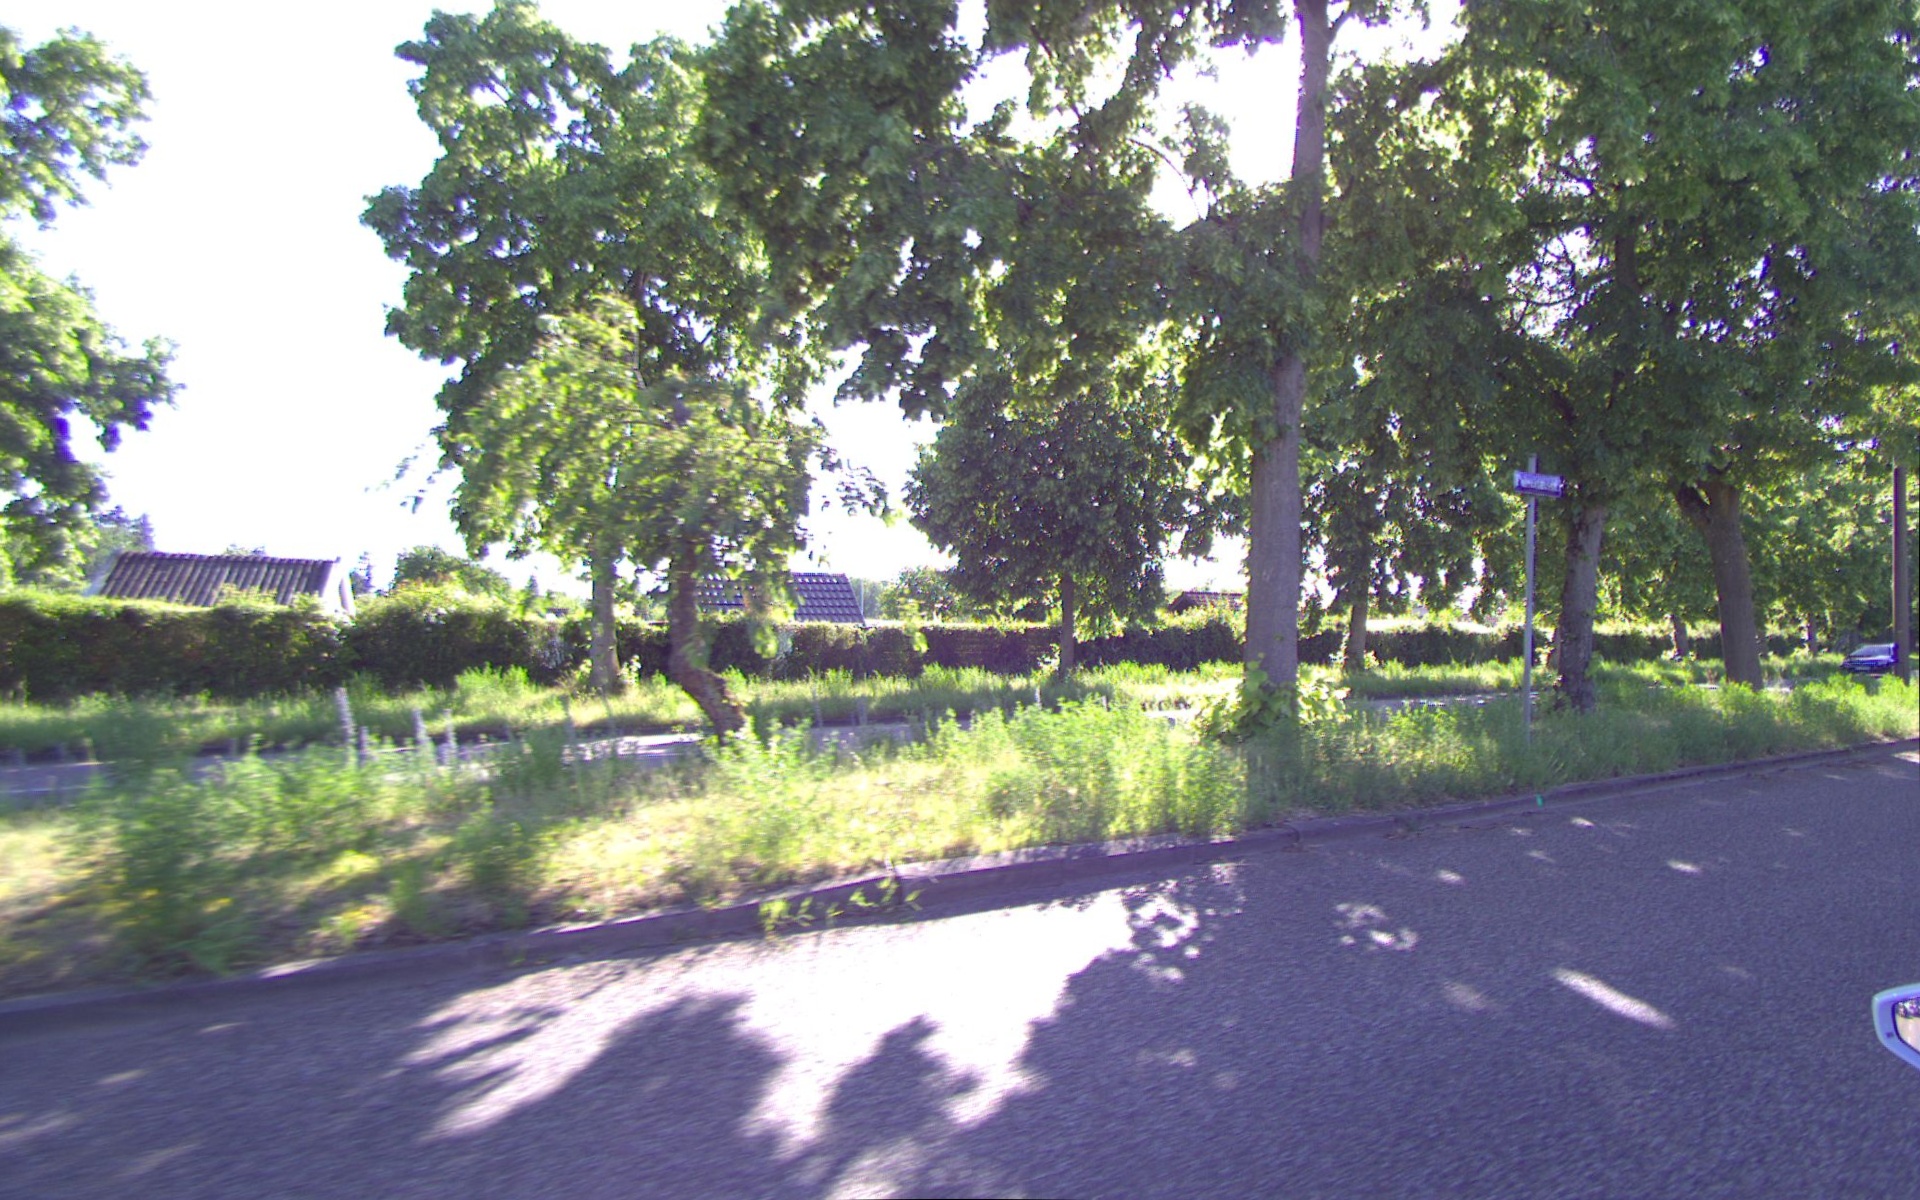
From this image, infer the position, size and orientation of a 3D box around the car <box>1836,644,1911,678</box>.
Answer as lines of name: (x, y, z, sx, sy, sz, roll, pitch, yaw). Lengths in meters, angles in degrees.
car: (40.778, 2.710, 44.818, 4.897, 1.455, 1.680, 2, -4, -38)
